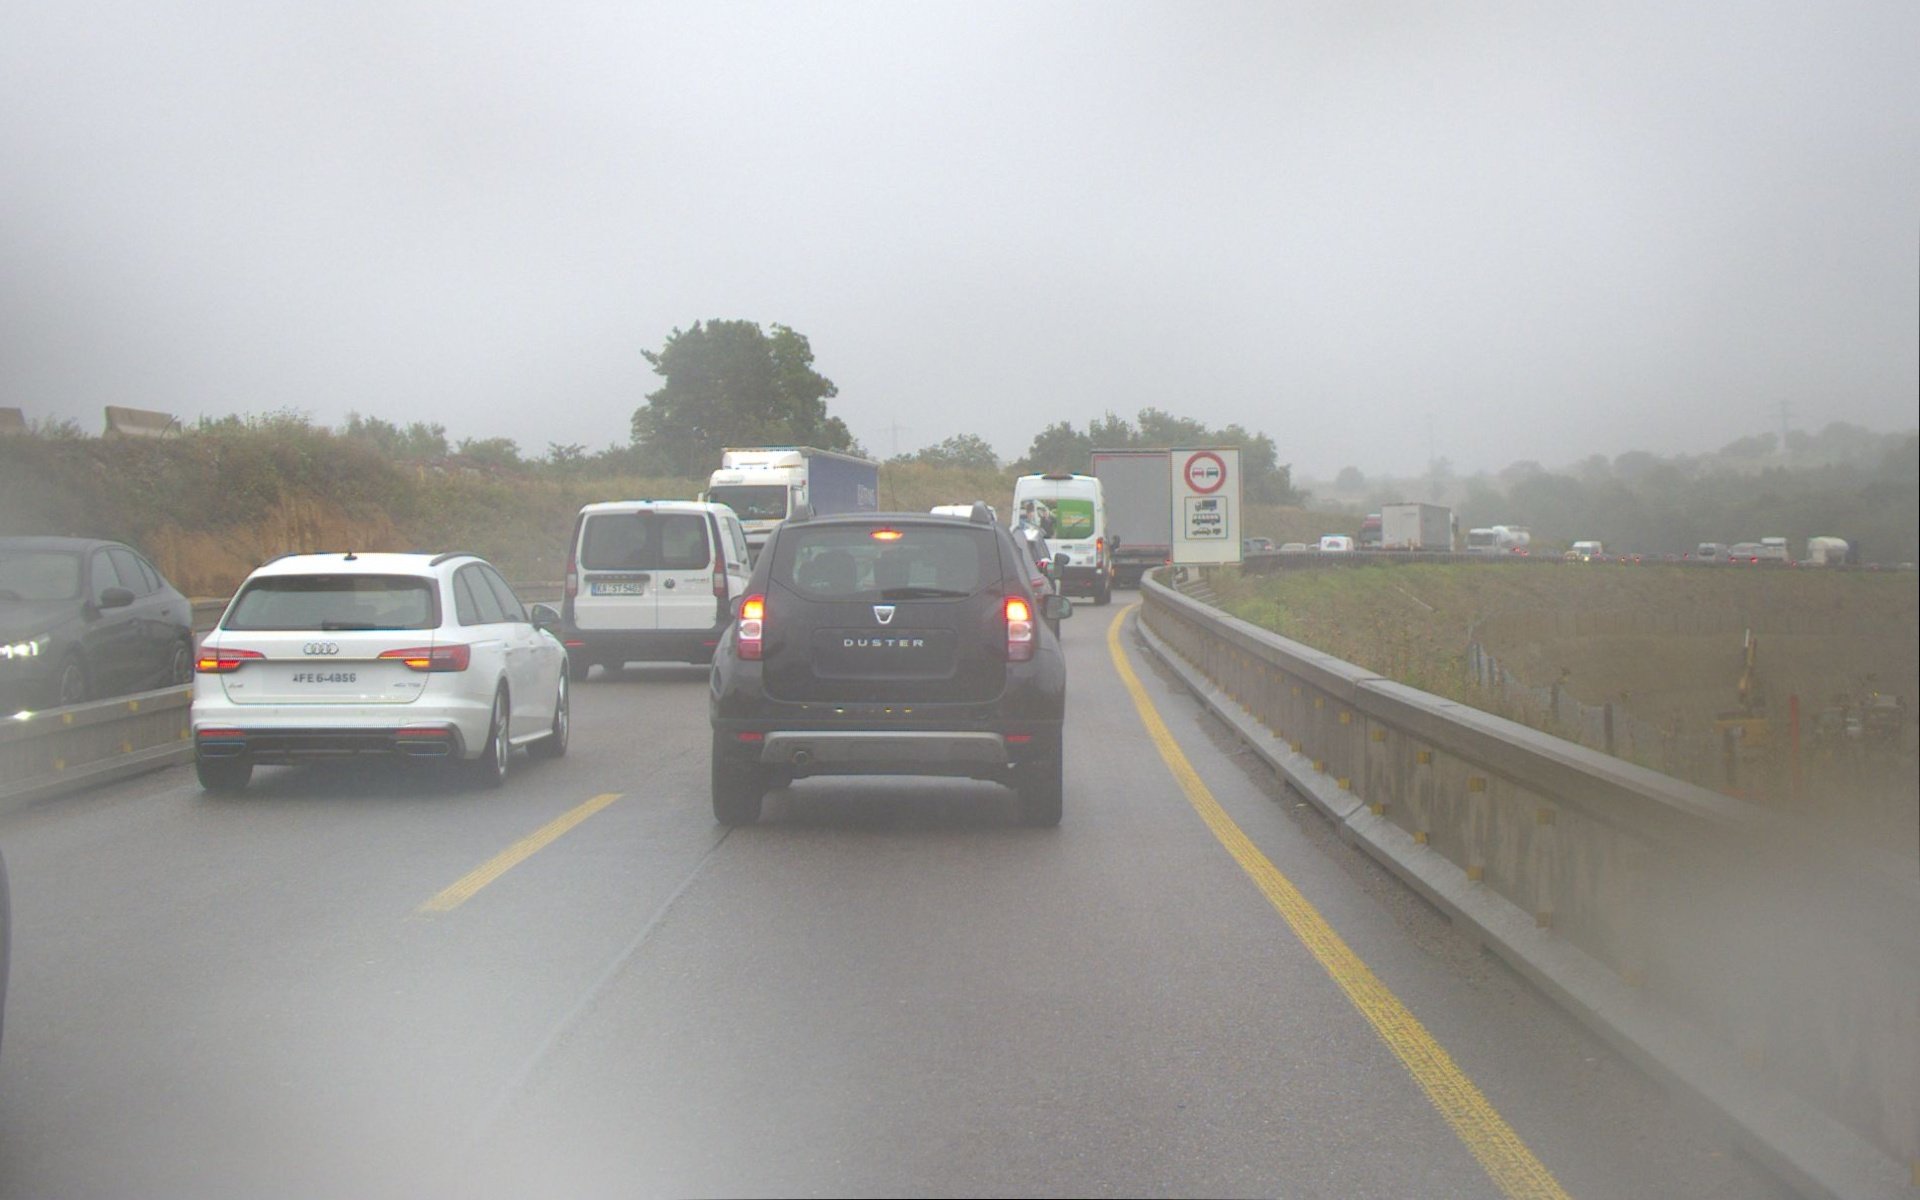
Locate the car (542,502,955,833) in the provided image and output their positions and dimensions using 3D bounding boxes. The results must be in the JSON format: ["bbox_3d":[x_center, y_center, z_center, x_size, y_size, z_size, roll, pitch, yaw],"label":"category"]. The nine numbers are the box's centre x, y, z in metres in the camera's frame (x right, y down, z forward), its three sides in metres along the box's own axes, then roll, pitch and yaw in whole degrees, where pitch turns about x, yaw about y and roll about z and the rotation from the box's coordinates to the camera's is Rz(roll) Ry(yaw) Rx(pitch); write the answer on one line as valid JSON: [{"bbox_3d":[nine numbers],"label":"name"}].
[{"bbox_3d":[-1.031,0.309,18.676,1.826,1.585,4.000,1,0,2],"label":"car"}]

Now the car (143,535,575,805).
[{"bbox_3d":[-3.604,0.376,21.325,1.826,1.494,4.000,1,0,2],"label":"car"}]

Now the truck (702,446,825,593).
[{"bbox_3d":[-5.553,-2.328,98.035,2.788,4.021,5.819,1,2,4],"label":"truck"}]

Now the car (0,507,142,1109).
[{"bbox_3d":[-3.219,0.586,7.229,1.735,1.457,5.630,0,3,-1],"label":"car"}]

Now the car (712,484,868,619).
[{"bbox_3d":[-2.363,-0.677,48.693,1.826,1.809,4.000,1,0,3],"label":"car"}]

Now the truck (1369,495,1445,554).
[{"bbox_3d":[28.828,-4.883,221.272,3.475,3.702,8.411,0,1,17],"label":"truck"}]

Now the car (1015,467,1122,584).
[{"bbox_3d":[2.376,-1.576,74.216,1.827,2.429,4.156,1,0,8],"label":"car"}]

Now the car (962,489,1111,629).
[{"bbox_3d":[1.087,-0.555,46.991,1.826,1.809,3.999,1,0,4],"label":"car"}]

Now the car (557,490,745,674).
[{"bbox_3d":[-3.188,-0.191,36.090,1.826,1.809,4.001,1,0,-3],"label":"car"}]

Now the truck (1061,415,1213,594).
[{"bbox_3d":[5.398,-2.761,102.761,3.545,5.060,10.438,1,0,8],"label":"truck"}]

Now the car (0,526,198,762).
[{"bbox_3d":[-7.205,0.241,25.726,1.918,1.580,4.895,1,1,0],"label":"car"}]
